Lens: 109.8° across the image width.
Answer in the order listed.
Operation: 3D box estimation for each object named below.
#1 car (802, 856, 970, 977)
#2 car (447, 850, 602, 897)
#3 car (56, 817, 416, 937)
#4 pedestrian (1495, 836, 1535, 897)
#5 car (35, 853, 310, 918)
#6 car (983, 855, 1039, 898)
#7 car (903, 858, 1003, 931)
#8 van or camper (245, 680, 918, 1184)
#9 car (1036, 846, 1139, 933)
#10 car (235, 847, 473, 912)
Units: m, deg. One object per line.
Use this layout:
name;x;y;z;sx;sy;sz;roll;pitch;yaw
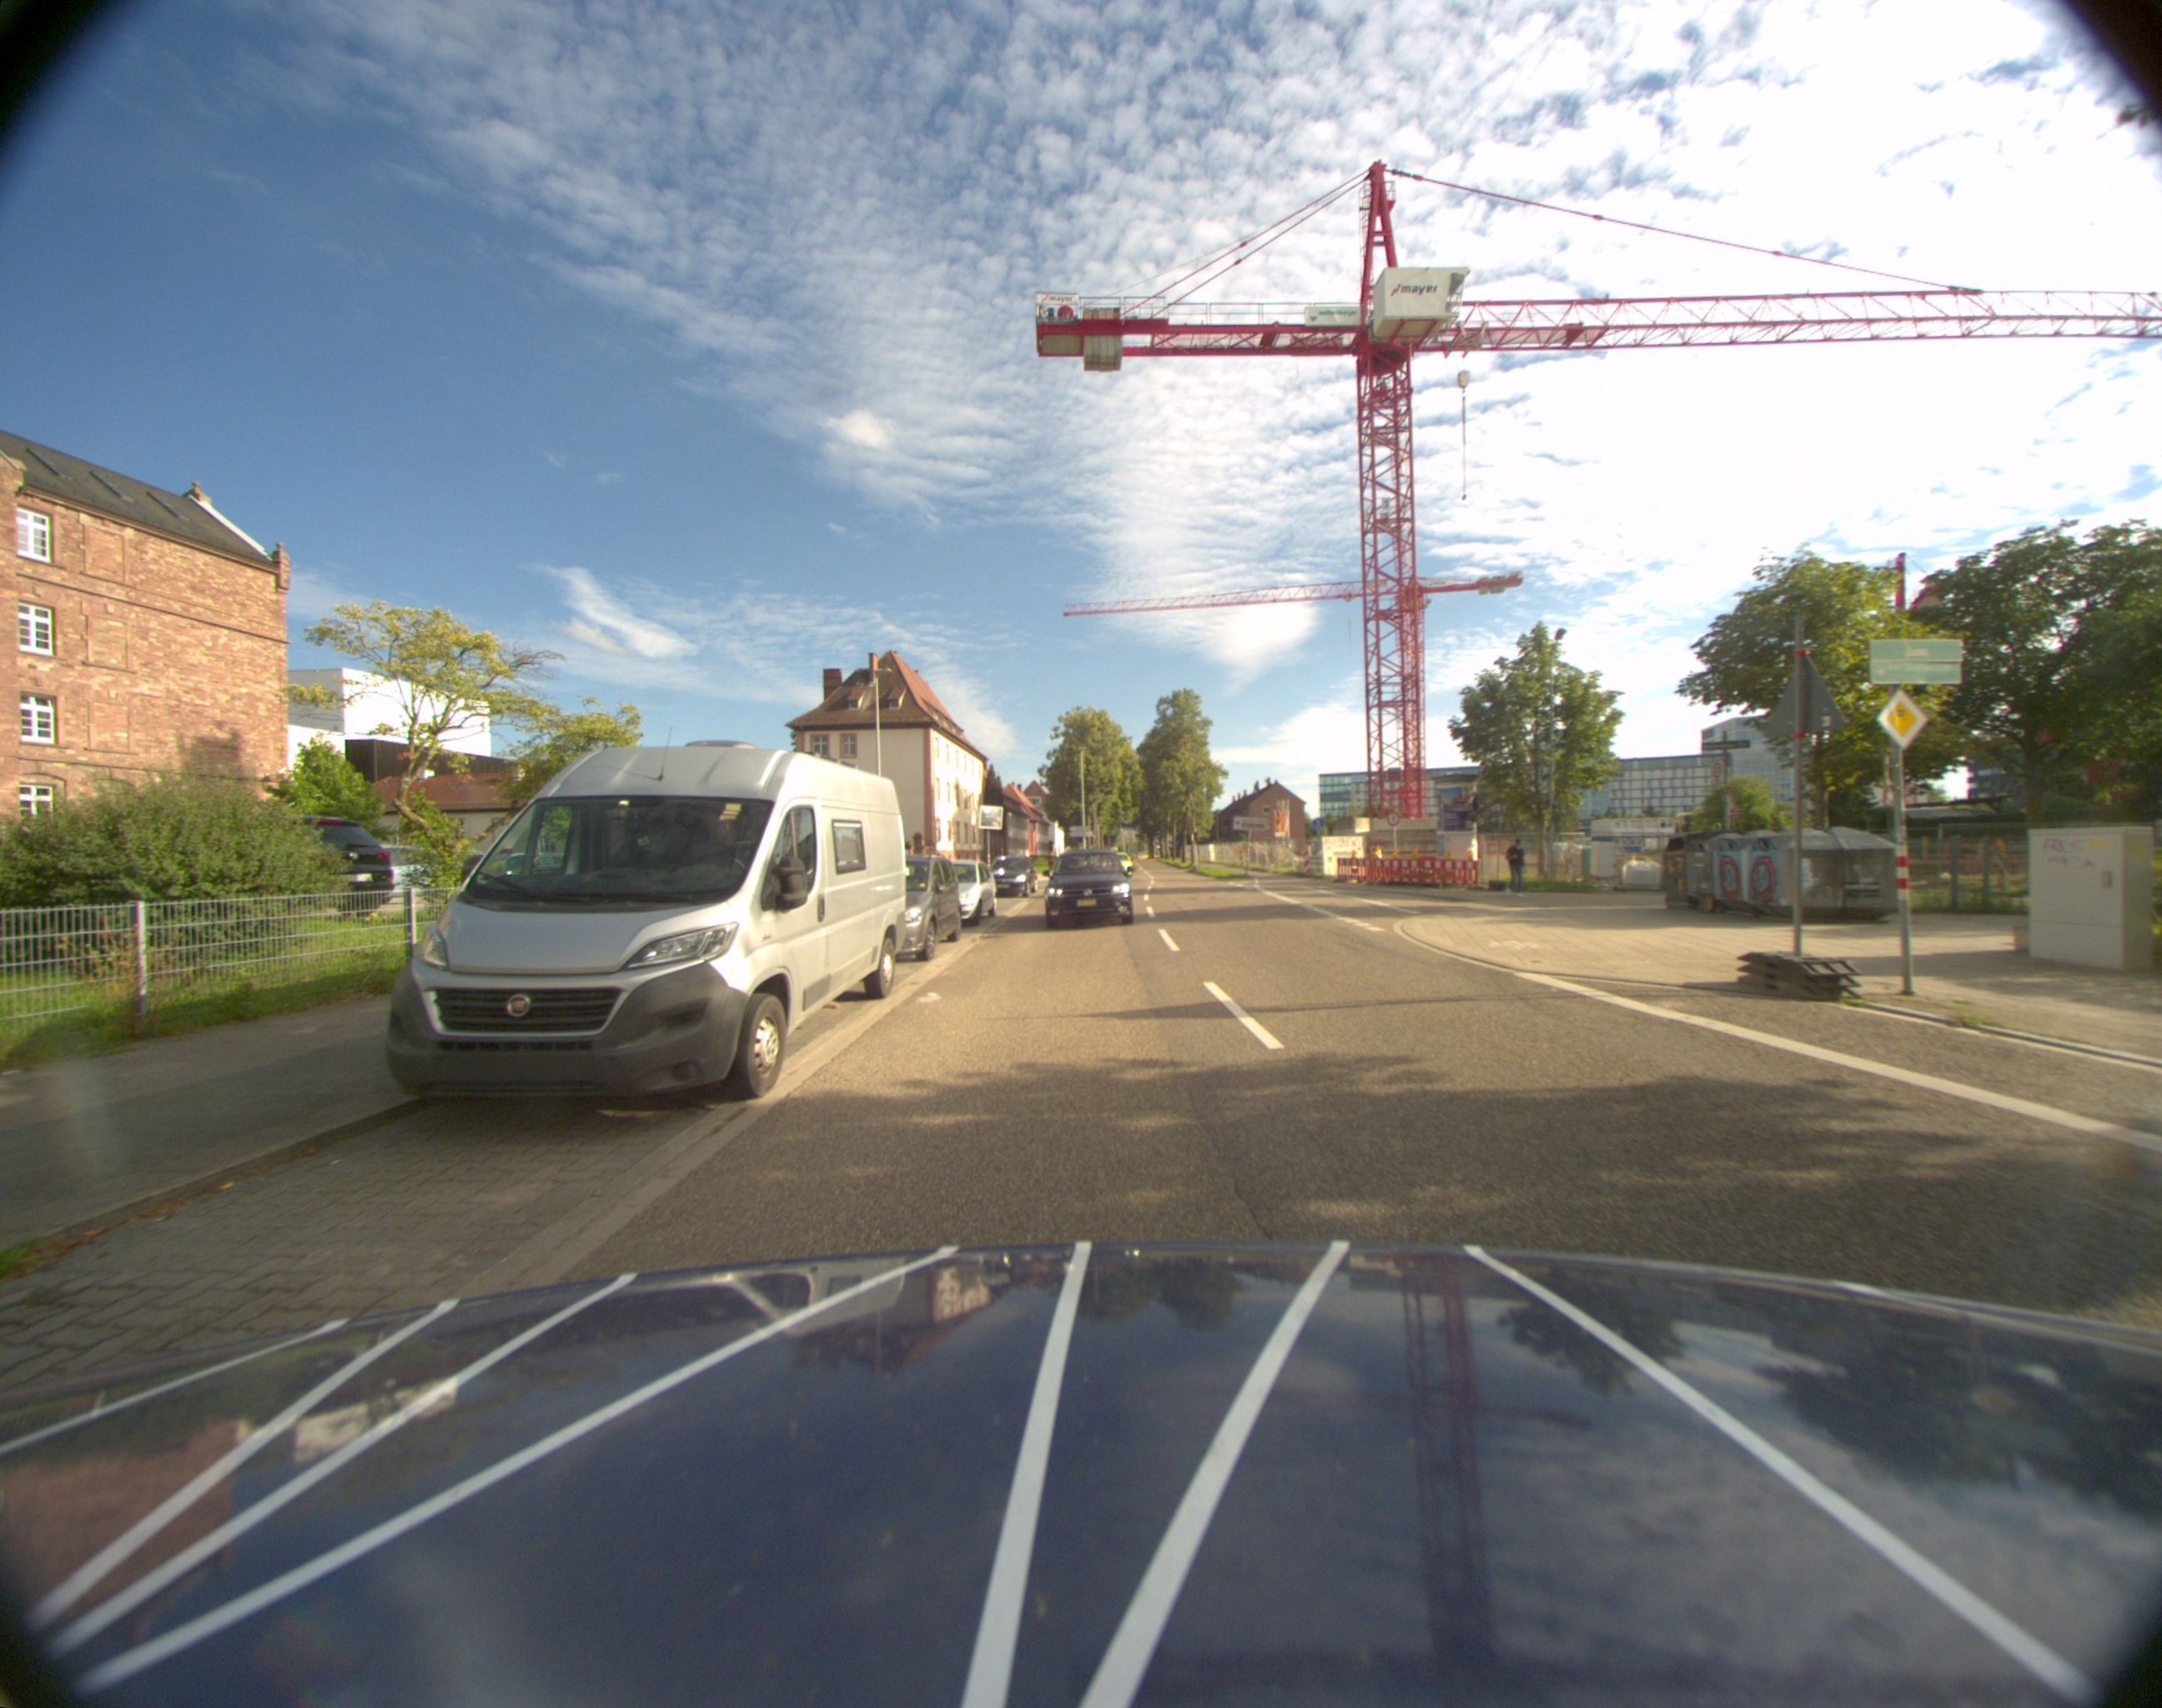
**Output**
car;-3.057;0.890;12.783;1.677;1.639;4.204;1;0;1
car;-21.866;0.689;30.198;2.180;1.709;4.990;0;0;5
car;-13.064;0.338;11.903;3.794;1.649;1.871;-1;1;7
pedestrian;12.900;0.365;22.620;0.743;1.758;0.775;0;1;-2
car;-22.413;0.697;19.051;1.888;1.443;4.091;0;0;2
car;-2.587;0.801;28.843;1.662;1.477;4.000;0;0;2
car;-2.997;0.896;18.531;1.662;1.477;4.000;2;1;1
van or camper;-3.145;0.393;6.779;2.165;2.512;5.913;1;0;-1
car;0.276;0.690;17.115;1.858;1.673;4.002;-2;0;6
car;-17.681;0.552;18.815;1.888;1.443;4.091;0;0;2
